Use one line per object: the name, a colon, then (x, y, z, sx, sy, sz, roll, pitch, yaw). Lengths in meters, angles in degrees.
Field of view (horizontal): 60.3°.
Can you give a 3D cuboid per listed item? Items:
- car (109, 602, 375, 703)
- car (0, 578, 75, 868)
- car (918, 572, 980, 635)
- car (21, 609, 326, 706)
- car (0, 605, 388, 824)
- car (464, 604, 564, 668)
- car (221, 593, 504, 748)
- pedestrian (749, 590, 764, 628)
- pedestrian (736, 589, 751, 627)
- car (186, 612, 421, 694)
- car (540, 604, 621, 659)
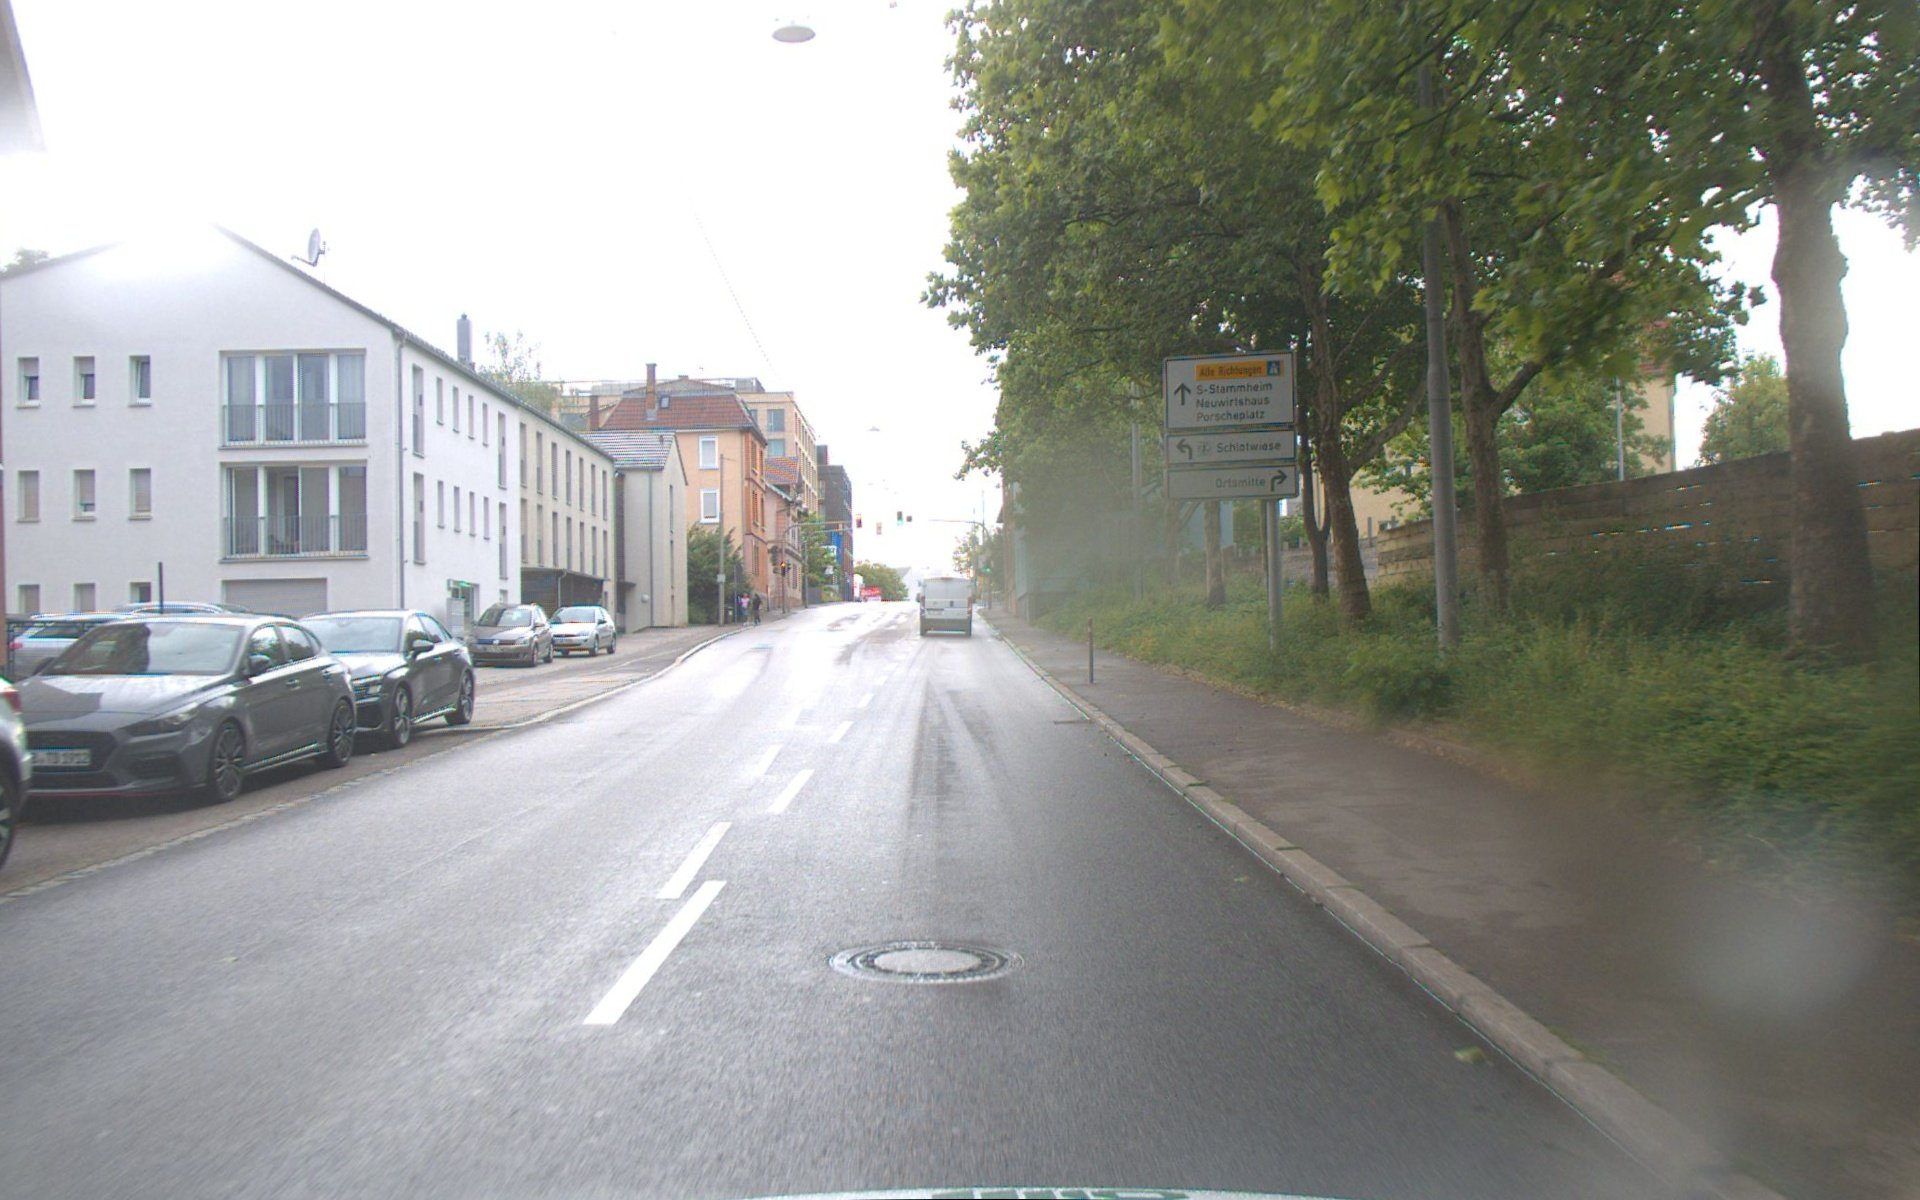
car: (-13.380, 0.960, 31.007, 4.063, 1.727, 2.001, -1, 0, 2)
car: (-6.047, 0.735, 7.623, 1.656, 1.569, 4.117, -3, 1, 0)
car: (-0.402, 0.171, 64.479, 2.288, 2.270, 3.999, -2, -2, 0)
car: (-13.384, 0.952, 28.351, 4.202, 1.489, 2.068, -1, 0, -1)
car: (-6.395, 0.816, 13.833, 1.708, 1.508, 4.385, -1, 0, -1)
car: (-11.658, 0.901, 43.448, 1.634, 1.557, 4.093, -1, 0, -2)
car: (-6.533, 0.716, 18.598, 1.601, 1.508, 4.358, 1, -1, 0)
pedestrian: (-11.104, 0.507, 90.216, 0.657, 2.049, 0.942, 0, 0, 3)
pedestrian: (-11.829, 0.427, 90.274, 0.657, 2.049, 0.942, 0, 0, 3)
car: (-13.254, 1.046, 33.555, 3.904, 1.497, 2.001, -1, 0, 2)
car: (-11.517, 0.934, 50.413, 1.634, 1.557, 4.093, -1, 0, -2)
